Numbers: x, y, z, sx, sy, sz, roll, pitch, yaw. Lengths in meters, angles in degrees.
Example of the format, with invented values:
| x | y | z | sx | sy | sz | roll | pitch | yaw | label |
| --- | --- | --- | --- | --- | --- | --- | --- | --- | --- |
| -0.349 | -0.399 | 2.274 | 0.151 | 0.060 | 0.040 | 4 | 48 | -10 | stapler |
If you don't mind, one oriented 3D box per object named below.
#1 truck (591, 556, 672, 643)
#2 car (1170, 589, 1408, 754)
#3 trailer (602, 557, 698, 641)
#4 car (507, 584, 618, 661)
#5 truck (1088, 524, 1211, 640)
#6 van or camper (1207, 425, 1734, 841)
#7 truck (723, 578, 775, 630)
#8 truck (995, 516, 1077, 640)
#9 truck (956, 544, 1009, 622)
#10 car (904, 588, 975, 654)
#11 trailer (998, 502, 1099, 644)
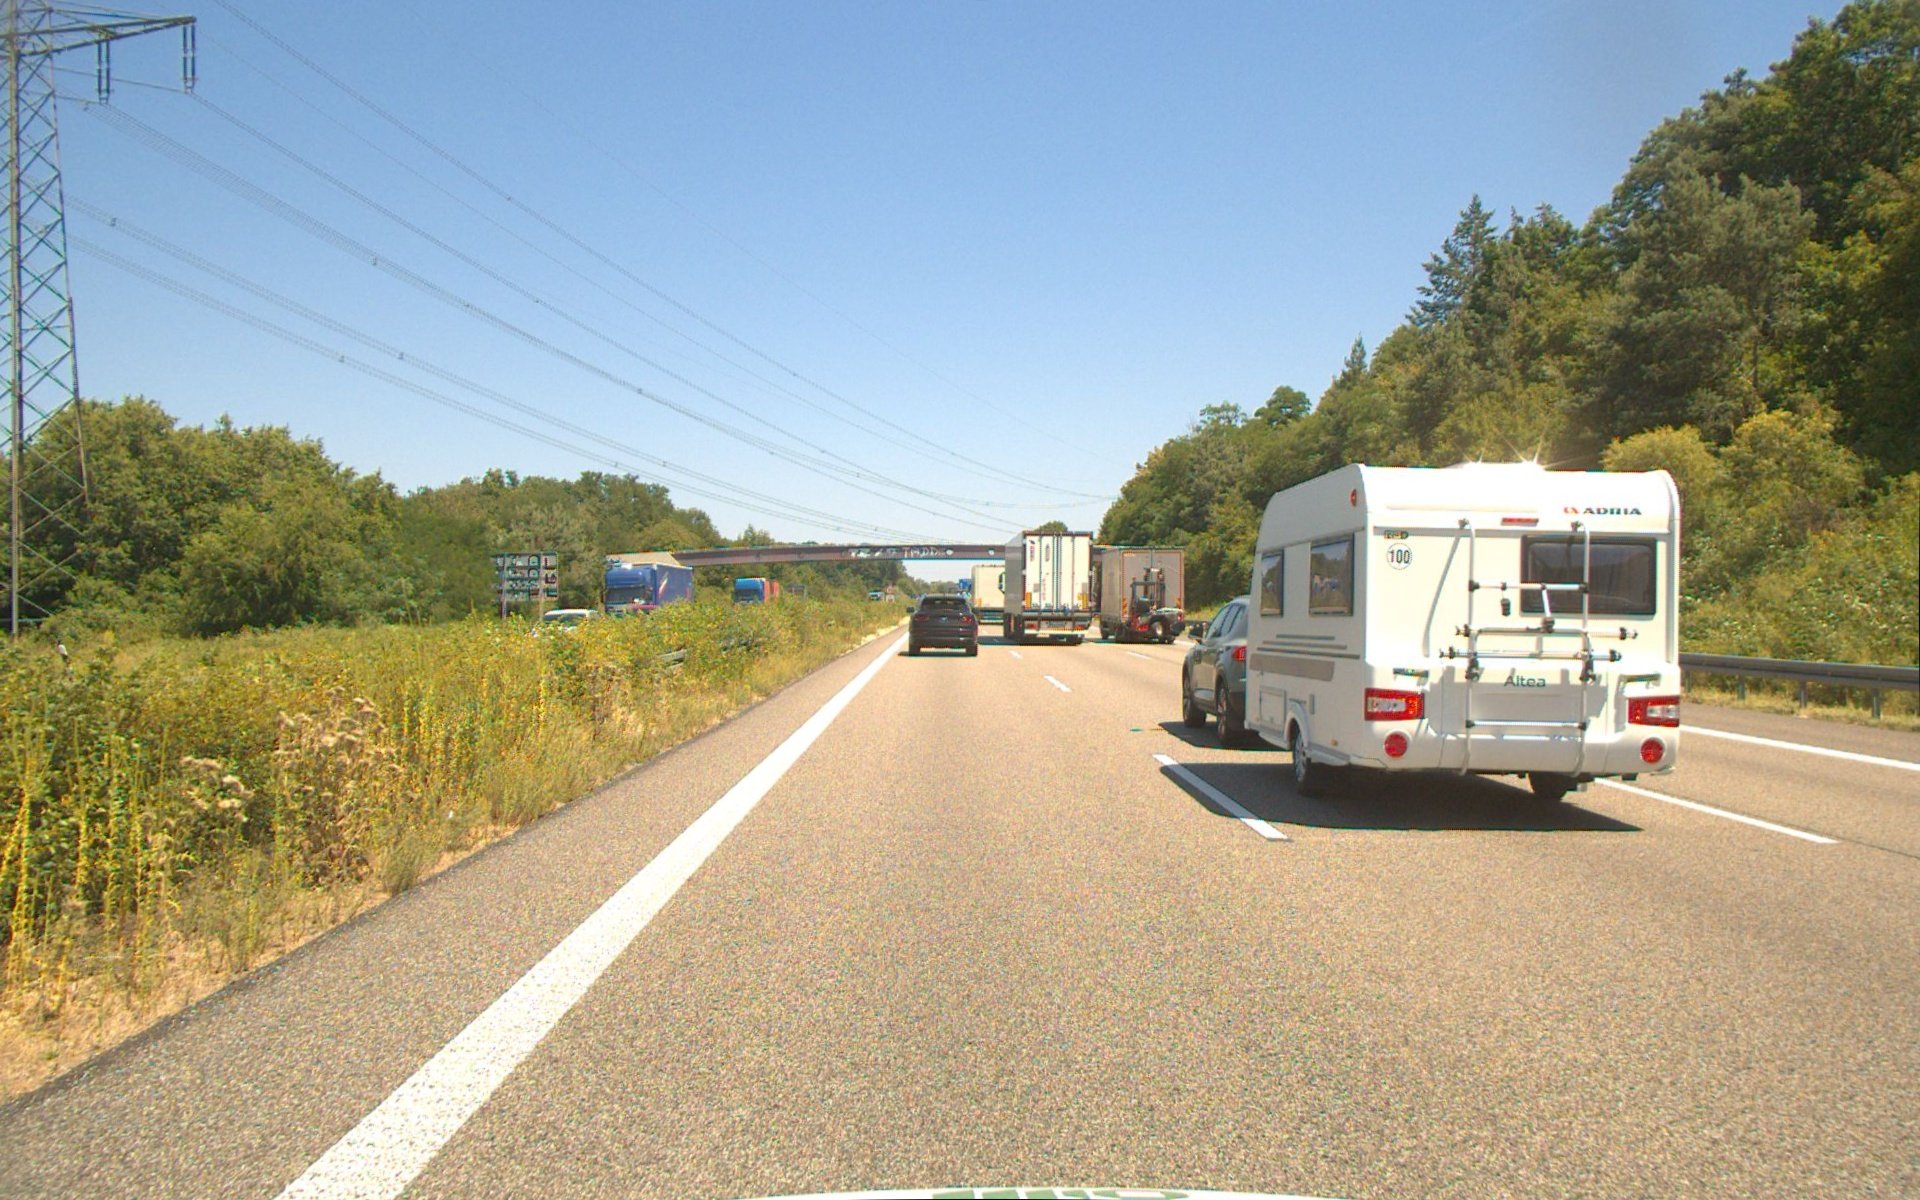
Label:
| x | y | z | sx | sy | sz | roll | pitch | yaw | label |
| --- | --- | --- | --- | --- | --- | --- | --- | --- | --- |
| -18.161 | -0.032 | 91.803 | 3.025 | 4.484 | 6.800 | -3 | 0 | -1 | truck |
| 3.738 | 0.742 | 19.613 | 1.841 | 1.640 | 4.702 | 3 | 0 | 0 | car |
| -18.247 | -0.054 | 98.472 | 3.025 | 4.484 | 14.229 | -3 | 0 | -1 | trailer |
| -10.901 | 0.590 | 45.697 | 1.953 | 1.978 | 4.724 | -1 | 0 | -1 | car |
| 7.632 | -0.653 | 68.476 | 3.498 | 4.319 | 11.649 | 1 | 0 | -1 | truck |
| 3.843 | 0.198 | 14.071 | 2.389 | 2.721 | 6.348 | 0 | 0 | -1 | van or camper |
| -19.055 | 0.360 | 149.662 | 3.274 | 4.484 | 7.974 | -1 | 0 | 3 | truck |
| 3.176 | -0.885 | 71.066 | 3.024 | 4.970 | 6.596 | 1 | 0 | -1 | truck |
| 1.515 | -1.139 | 117.900 | 3.440 | 5.257 | 10.256 | 1 | 0 | -1 | truck |
| -0.627 | 0.571 | 47.581 | 1.953 | 1.803 | 3.998 | 0 | 0 | -2 | car |
| 3.263 | -0.920 | 64.487 | 3.024 | 4.970 | 12.255 | 1 | 0 | -1 | trailer |
